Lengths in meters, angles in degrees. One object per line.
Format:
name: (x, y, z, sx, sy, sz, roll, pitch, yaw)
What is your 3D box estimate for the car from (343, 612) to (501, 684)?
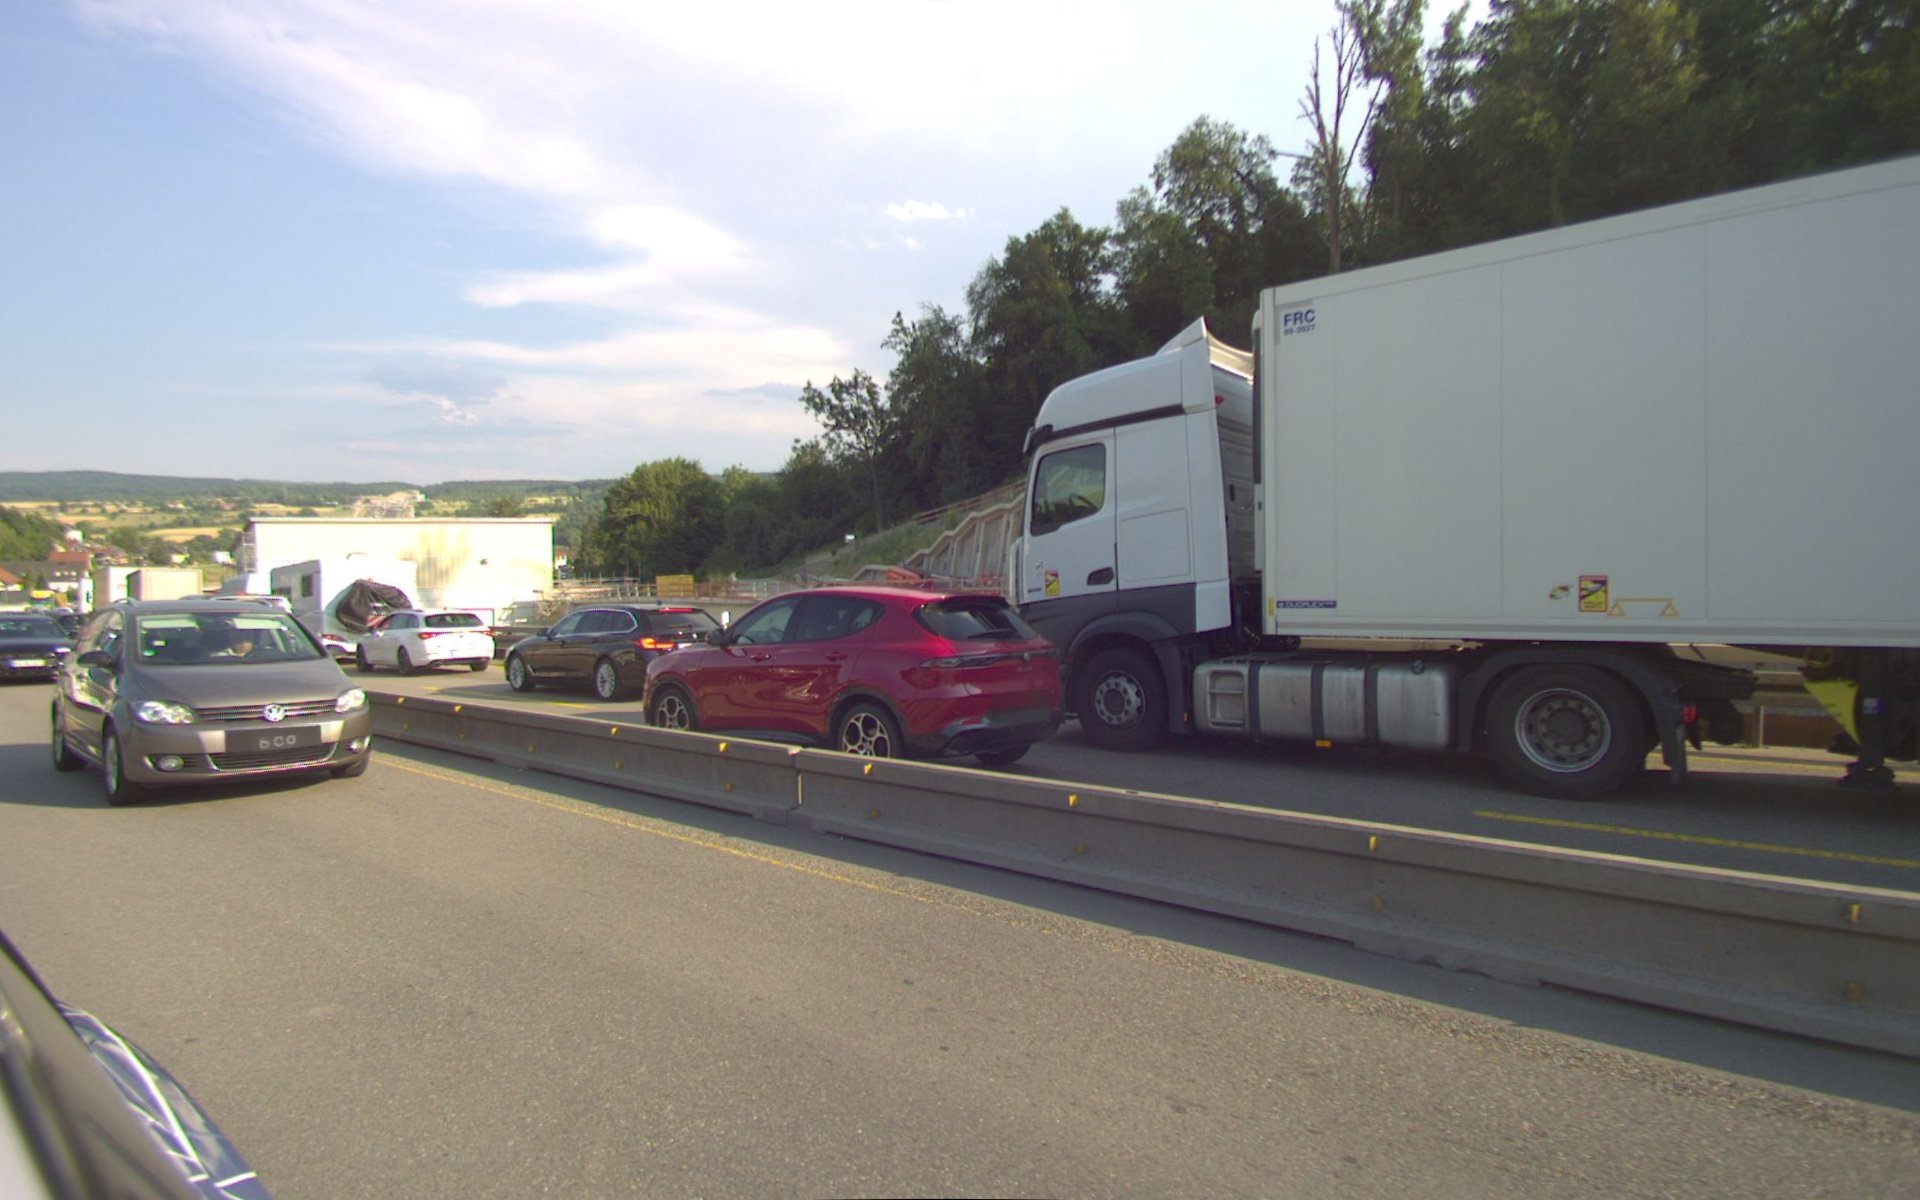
car: (-12.325, 1.012, 23.037, 4.609, 1.433, 1.730, -1, 1, 43)

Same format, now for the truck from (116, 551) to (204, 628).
truck: (-39.068, -0.430, 49.330, 7.620, 3.489, 2.420, -1, 0, 45)

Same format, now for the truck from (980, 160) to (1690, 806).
truck: (3.252, -0.750, 9.527, 5.677, 4.250, 2.686, -1, 0, 40)

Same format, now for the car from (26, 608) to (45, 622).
car: (-142.778, 2.339, 156.258, 4.754, 2.015, 1.797, -3, -3, 43)

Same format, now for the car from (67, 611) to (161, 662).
car: (-28.319, 1.243, 33.827, 4.754, 1.591, 1.797, -3, -3, 43)

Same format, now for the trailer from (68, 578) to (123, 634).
trailer: (-68.313, 0.482, 79.831, 2.823, 4.066, 13.985, 0, 0, -43)

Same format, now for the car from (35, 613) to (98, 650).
car: (-40.448, 1.442, 45.774, 4.001, 1.533, 1.762, -3, 0, 44)

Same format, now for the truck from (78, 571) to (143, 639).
truck: (-54.221, 0.327, 64.572, 2.682, 4.119, 6.105, 0, -1, -45)

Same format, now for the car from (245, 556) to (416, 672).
car: (-18.189, 0.376, 28.990, 7.633, 2.940, 2.309, 0, -1, 43)

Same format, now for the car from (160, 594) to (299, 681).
car: (-17.179, 0.869, 23.675, 1.784, 1.785, 5.455, -1, -1, -45)

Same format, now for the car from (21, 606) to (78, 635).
car: (-51.861, 1.209, 57.612, 4.728, 1.498, 2.035, -3, -4, 44)

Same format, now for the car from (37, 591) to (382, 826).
car: (-6.737, 0.759, 8.915, 4.099, 1.585, 1.666, -1, 0, 42)

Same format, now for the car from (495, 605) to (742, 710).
car: (-5.710, 0.867, 16.592, 4.711, 1.471, 1.725, -2, -1, 42)

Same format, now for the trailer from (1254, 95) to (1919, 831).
trailer: (8.587, -0.832, 5.043, 13.737, 4.250, 2.693, -1, 0, 40)

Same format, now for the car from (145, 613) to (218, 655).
car: (-30.738, 1.292, 39.922, 4.004, 1.535, 1.743, -1, 0, 45)

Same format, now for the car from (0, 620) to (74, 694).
car: (-20.347, 1.168, 21.683, 1.841, 1.409, 4.003, 0, -1, -44)

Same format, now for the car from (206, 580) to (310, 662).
car: (-24.527, 0.699, 35.259, 5.751, 2.640, 1.934, 0, -1, 45)

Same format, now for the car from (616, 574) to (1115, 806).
car: (-1.031, 0.661, 9.106, 4.452, 1.580, 1.869, -2, 0, 40)

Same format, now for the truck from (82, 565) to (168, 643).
truck: (-49.381, 0.267, 59.643, 2.676, 4.119, 14.162, 0, -1, -45)
